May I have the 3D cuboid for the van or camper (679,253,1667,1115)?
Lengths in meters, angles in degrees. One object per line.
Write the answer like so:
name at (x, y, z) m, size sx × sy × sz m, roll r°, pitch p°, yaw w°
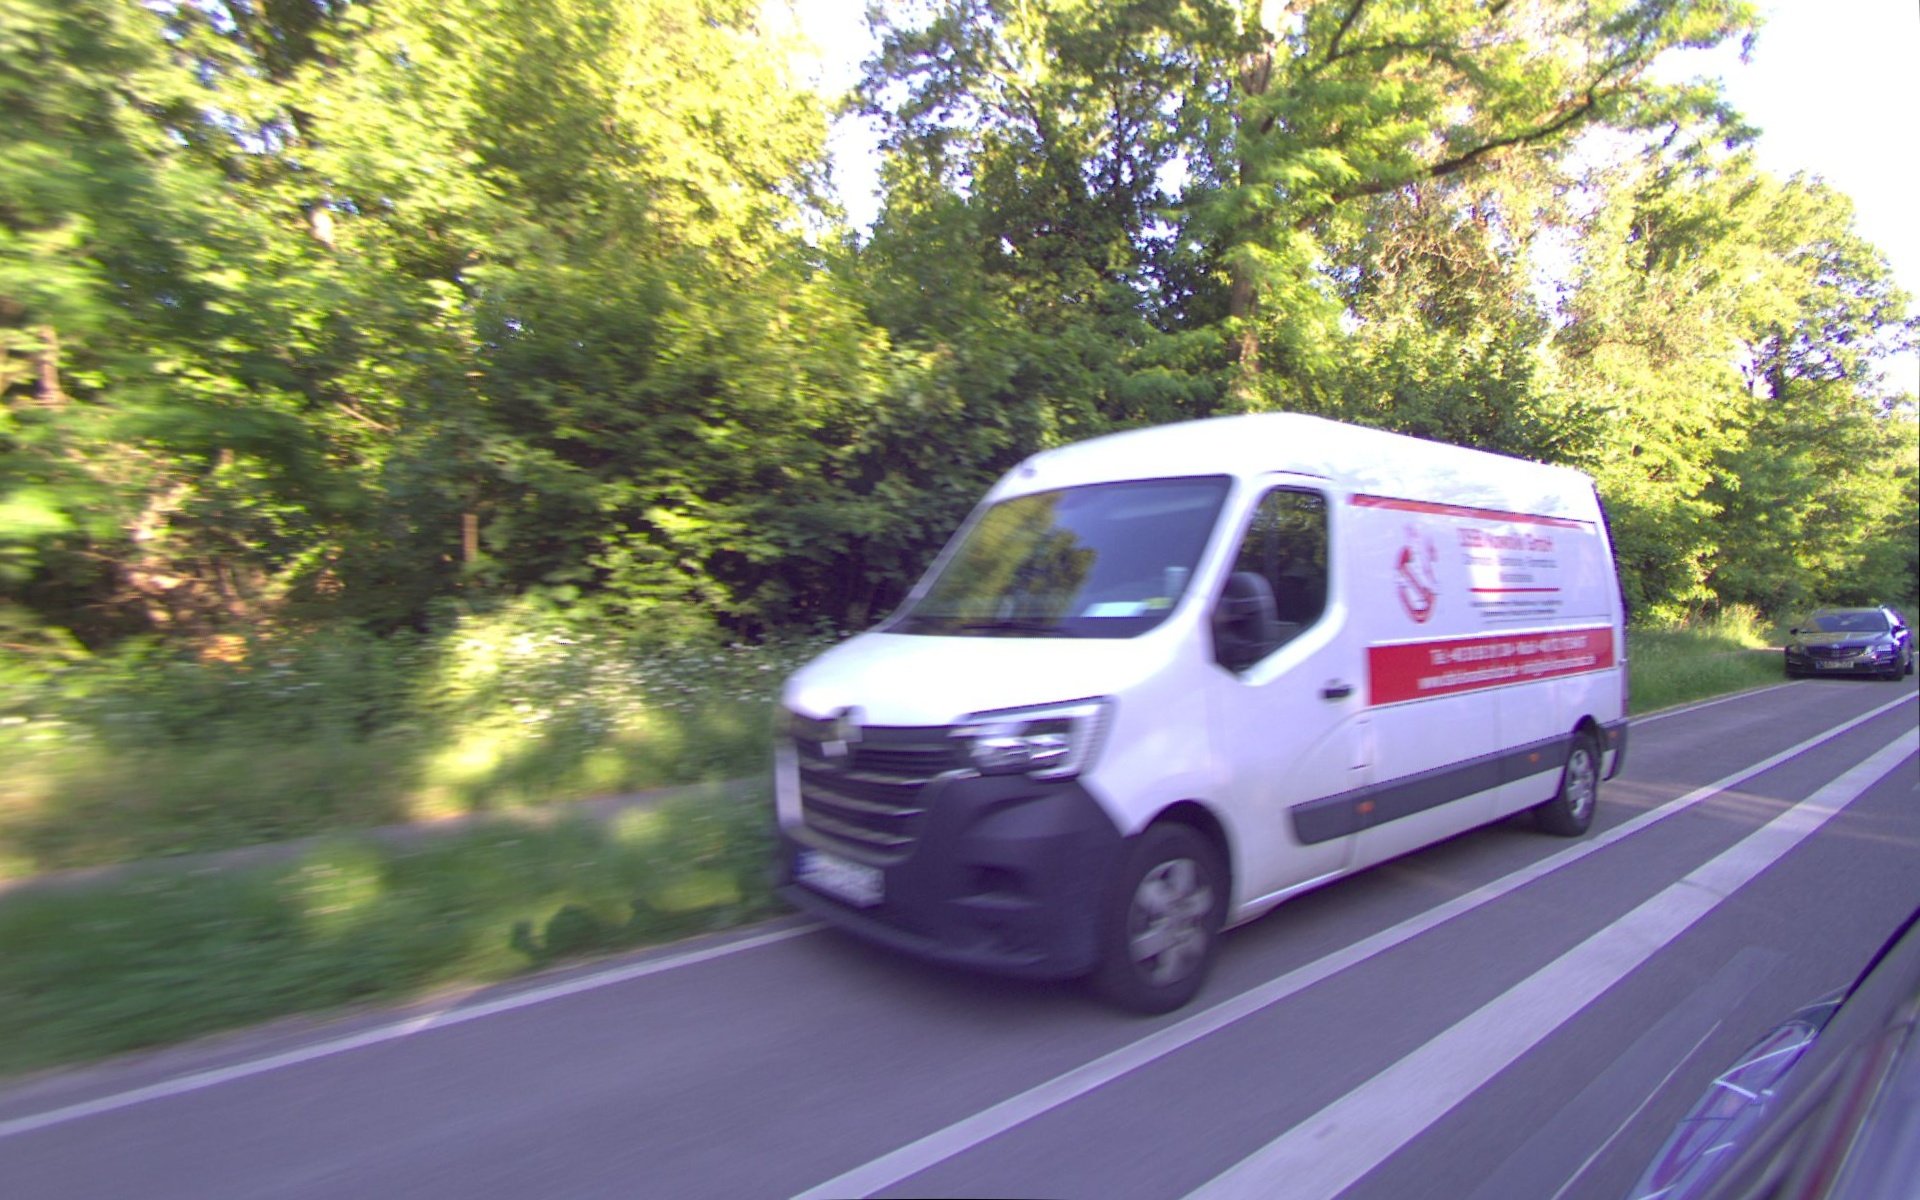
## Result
van or camper at (1.776, 0.217, 5.765) m, size 6.192 × 2.514 × 2.130 m, roll 0°, pitch 1°, yaw -40°

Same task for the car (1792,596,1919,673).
car at (18.884, 0.666, 21.082) m, size 4.520 × 1.439 × 1.835 m, roll 0°, pitch -2°, yaw -44°
